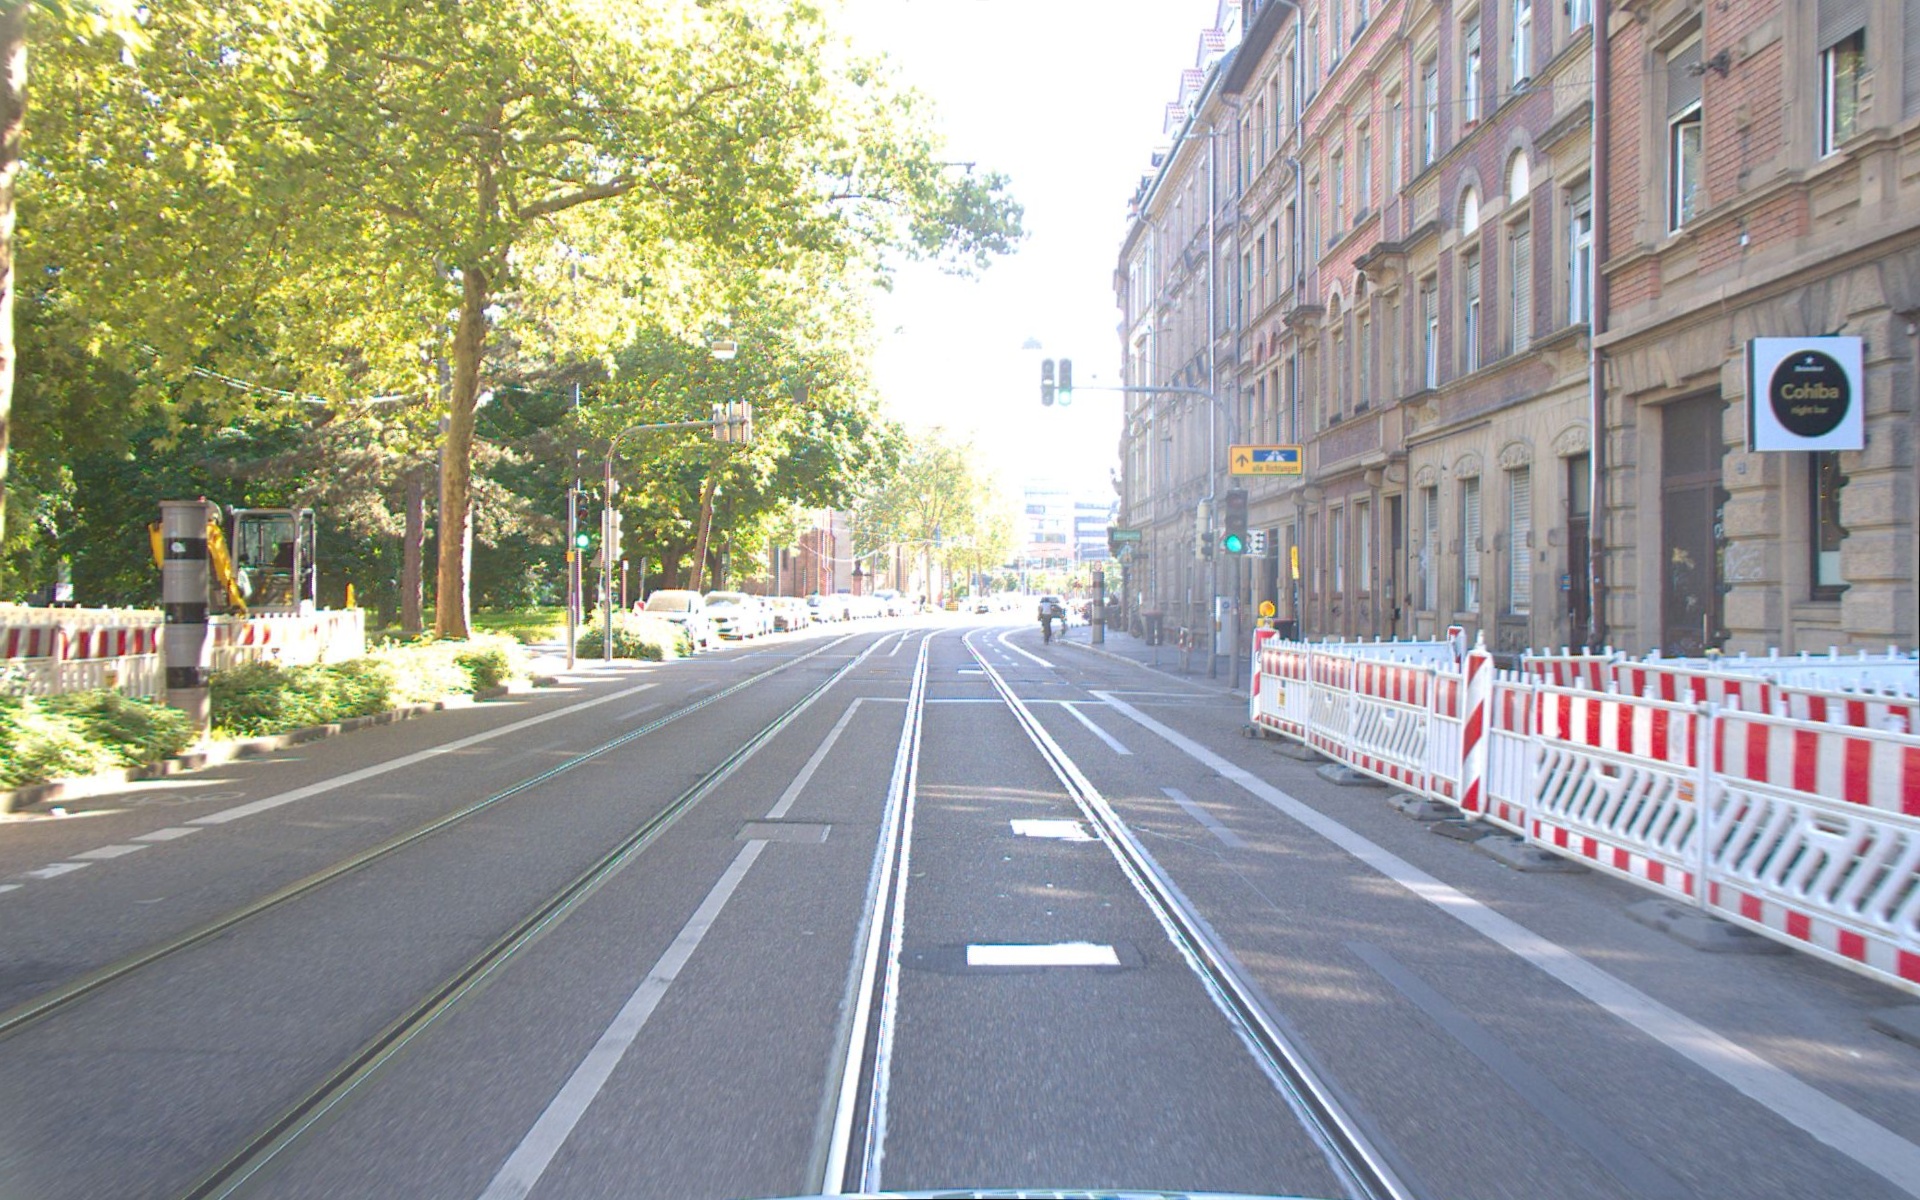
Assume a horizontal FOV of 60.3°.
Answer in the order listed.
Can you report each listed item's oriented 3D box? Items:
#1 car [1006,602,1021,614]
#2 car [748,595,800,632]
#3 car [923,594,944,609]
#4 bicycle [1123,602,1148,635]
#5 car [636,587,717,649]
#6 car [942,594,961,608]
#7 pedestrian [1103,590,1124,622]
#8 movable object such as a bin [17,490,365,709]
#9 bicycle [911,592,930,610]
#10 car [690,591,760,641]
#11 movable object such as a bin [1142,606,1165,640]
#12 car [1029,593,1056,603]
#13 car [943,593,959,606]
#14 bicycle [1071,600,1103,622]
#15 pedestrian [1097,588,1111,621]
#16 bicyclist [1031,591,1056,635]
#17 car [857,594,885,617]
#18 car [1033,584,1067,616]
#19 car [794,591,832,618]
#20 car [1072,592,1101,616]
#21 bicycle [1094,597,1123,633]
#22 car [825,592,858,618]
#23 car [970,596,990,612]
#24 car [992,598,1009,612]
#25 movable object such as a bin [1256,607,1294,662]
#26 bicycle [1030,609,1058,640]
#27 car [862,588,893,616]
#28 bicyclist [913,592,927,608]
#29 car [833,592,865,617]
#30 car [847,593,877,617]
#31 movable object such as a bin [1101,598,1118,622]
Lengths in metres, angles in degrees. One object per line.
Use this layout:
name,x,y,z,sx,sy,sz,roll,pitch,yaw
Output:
car,6.442,0.952,198.193,1.712,1.447,4.045,1,0,4
car,-8.245,0.589,73.709,1.712,1.536,4.044,1,0,2
car,-2.663,0.188,165.247,1.712,1.447,4.045,1,0,4
bicycle,6.303,0.664,59.520,0.626,1.137,2.297,1,0,0
car,-8.112,0.503,47.593,1.513,1.687,3.763,1,0,2
car,-0.937,0.089,176.632,1.712,1.447,4.045,1,0,4
pedestrian,8.857,0.331,95.192,1.033,1.791,1.332,1,0,-1
movable object such as a bin,-10.759,-0.012,23.832,2.446,2.691,5.985,1,0,-4
bicycle,-3.520,0.090,147.682,1.208,1.600,2.899,1,0,6
car,-8.220,0.556,58.096,1.712,1.636,4.044,1,0,2
movable object such as a bin,6.224,0.730,53.188,0.660,1.054,0.813,0,1,-1
car,12.898,-0.355,259.201,3.944,1.447,1.755,1,0,9
car,-1.152,-0.045,211.619,1.712,1.653,4.045,1,0,4
bicycle,6.932,0.590,89.875,0.628,1.137,2.289,1,-1,35
pedestrian,8.557,0.272,98.202,0.767,1.922,0.971,1,-1,7
bicyclist,3.035,0.477,60.183,0.821,1.585,0.965,1,-1,-1
car,-6.553,0.409,122.462,1.712,1.614,4.044,1,0,2
car,5.924,0.011,109.285,1.953,2.049,3.999,1,0,0
car,-8.576,0.284,96.653,1.712,1.521,4.044,1,0,2
car,10.248,0.332,134.076,1.985,1.881,4.298,1,0,0
bicycle,6.669,0.670,74.240,0.950,1.541,3.249,1,0,11
car,-7.663,0.310,107.176,1.712,1.614,4.044,1,0,2
car,1.894,0.363,155.623,1.712,1.447,4.045,1,0,4
car,4.595,0.574,186.475,1.712,1.447,4.045,1,0,4
movable object such as a bin,6.661,0.718,35.012,0.608,1.129,0.780,1,0,-4
bicycle,3.042,0.878,60.198,0.838,1.107,2.487,1,0,-1
car,-6.357,0.172,127.509,2.016,2.088,4.044,1,0,2
bicyclist,-3.525,0.000,147.649,1.054,1.452,1.147,1,0,7
car,-7.484,0.337,112.053,1.712,1.614,4.044,1,0,2
car,-6.928,0.375,117.263,1.712,1.614,4.044,1,0,2
movable object such as a bin,7.190,0.486,79.496,0.681,1.112,0.741,1,0,-3
